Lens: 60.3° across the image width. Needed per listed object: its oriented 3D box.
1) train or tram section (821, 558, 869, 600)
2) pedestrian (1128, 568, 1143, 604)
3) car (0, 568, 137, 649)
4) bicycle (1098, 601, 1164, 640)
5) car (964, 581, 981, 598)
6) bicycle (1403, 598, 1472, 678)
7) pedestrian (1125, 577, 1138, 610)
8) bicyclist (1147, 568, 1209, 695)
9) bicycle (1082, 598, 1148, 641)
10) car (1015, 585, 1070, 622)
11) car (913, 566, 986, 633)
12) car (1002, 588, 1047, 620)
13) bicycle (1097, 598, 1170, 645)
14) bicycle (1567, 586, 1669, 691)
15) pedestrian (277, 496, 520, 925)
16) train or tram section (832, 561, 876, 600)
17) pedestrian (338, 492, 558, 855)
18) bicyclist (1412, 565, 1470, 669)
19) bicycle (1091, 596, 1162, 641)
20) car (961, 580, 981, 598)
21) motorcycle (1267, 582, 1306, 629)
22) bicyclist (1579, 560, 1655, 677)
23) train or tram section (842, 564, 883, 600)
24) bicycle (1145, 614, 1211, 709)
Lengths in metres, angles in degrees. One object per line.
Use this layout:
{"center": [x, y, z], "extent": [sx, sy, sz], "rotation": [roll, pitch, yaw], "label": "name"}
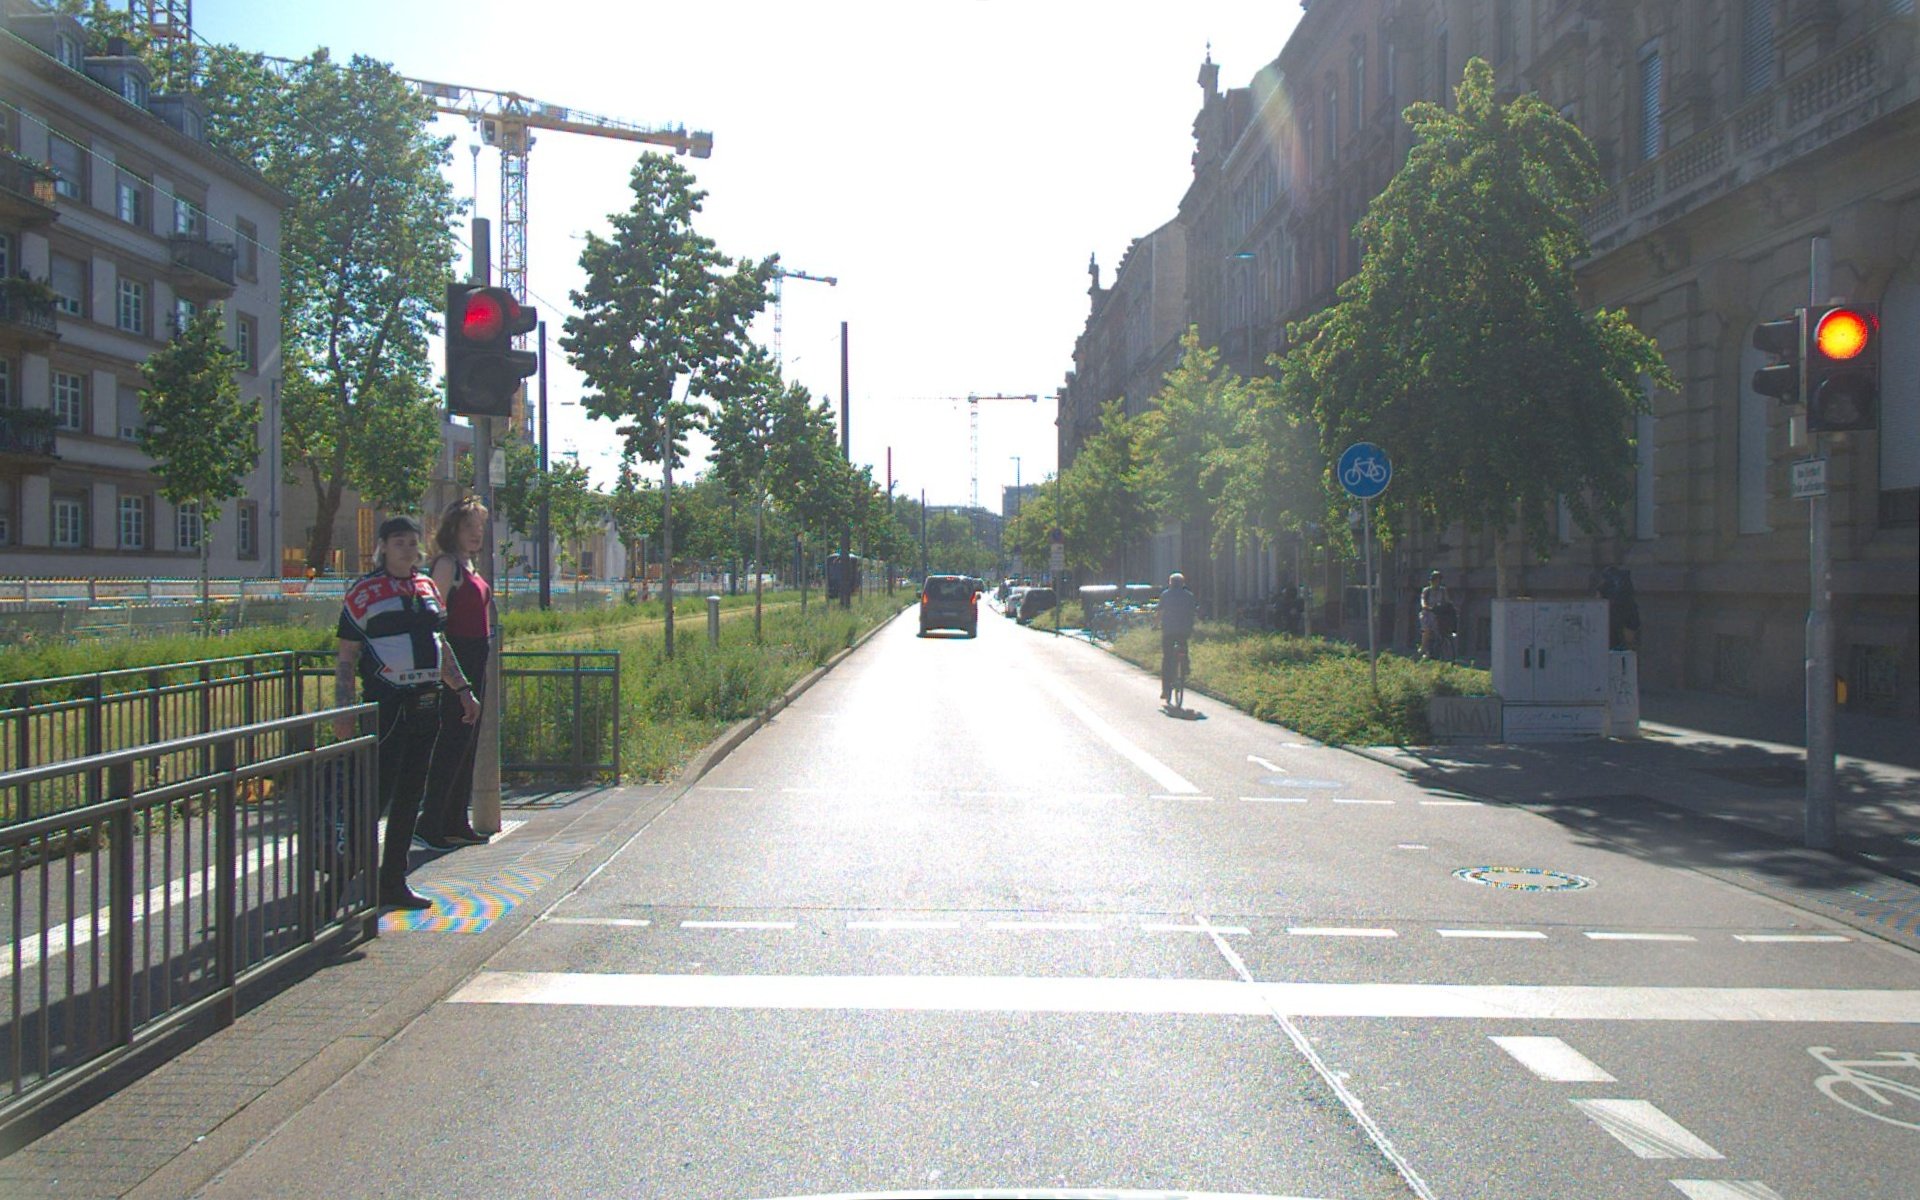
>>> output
{"center": [-8.160, -1.458, 118.229], "extent": [2.699, 2.790, 9.863], "rotation": [1, 0, 0], "label": "train or tram section"}
{"center": [8.203, -0.648, 77.158], "extent": [0.601, 1.640, 0.669], "rotation": [0, 0, -1], "label": "pedestrian"}
{"center": [-18.571, 0.138, 33.538], "extent": [1.779, 1.542, 4.000], "rotation": [0, 1, -1], "label": "car"}
{"center": [4.689, 0.567, 45.409], "extent": [1.756, 1.048, 0.527], "rotation": [0, 0, -1], "label": "bicycle"}
{"center": [1.535, -1.260, 199.950], "extent": [1.953, 1.870, 3.999], "rotation": [1, 0, -1], "label": "car"}
{"center": [7.865, 0.604, 27.337], "extent": [0.571, 1.244, 1.900], "rotation": [0, 1, -1], "label": "bicycle"}
{"center": [8.538, -0.320, 82.401], "extent": [0.601, 1.640, 0.669], "rotation": [0, 0, -1], "label": "pedestrian"}
{"center": [3.021, 0.426, 22.979], "extent": [0.670, 1.702, 0.922], "rotation": [2, 0, -2], "label": "bicyclist"}
{"center": [4.383, 0.548, 46.923], "extent": [1.756, 1.048, 0.527], "rotation": [-4, 1, -1], "label": "bicycle"}
{"center": [3.466, 0.121, 70.310], "extent": [1.987, 1.525, 4.653], "rotation": [0, 0, -1], "label": "car"}
{"center": [-0.342, -0.029, 51.333], "extent": [2.155, 1.960, 4.653], "rotation": [0, 0, -1], "label": "car"}
{"center": [3.205, 0.165, 82.615], "extent": [1.987, 1.525, 4.529], "rotation": [0, 0, -1], "label": "car"}
{"center": [4.447, 0.544, 42.465], "extent": [1.756, 1.048, 0.527], "rotation": [-4, 1, -1], "label": "bicycle"}
{"center": [9.204, 0.511, 23.201], "extent": [0.603, 1.353, 1.900], "rotation": [-4, 1, 1], "label": "bicycle"}
{"center": [-2.523, 0.468, 7.548], "extent": [0.848, 1.819, 0.969], "rotation": [1, 0, -7], "label": "pedestrian"}
{"center": [-8.111, -1.442, 128.076], "extent": [2.699, 2.790, 9.863], "rotation": [1, 0, 0], "label": "train or tram section"}
{"center": [-2.832, 0.385, 9.229], "extent": [1.055, 1.942, 0.652], "rotation": [0, 0, -8], "label": "pedestrian"}
{"center": [7.894, 0.270, 27.170], "extent": [0.653, 1.668, 0.960], "rotation": [0, 0, -1], "label": "bicyclist"}
{"center": [4.417, 0.488, 43.838], "extent": [1.756, 1.048, 0.527], "rotation": [-4, 1, -1], "label": "bicycle"}
{"center": [1.109, -1.109, 169.229], "extent": [1.953, 1.759, 3.999], "rotation": [1, 0, -1], "label": "car"}
{"center": [9.310, 0.146, 47.193], "extent": [0.686, 1.289, 1.981], "rotation": [0, 1, -1], "label": "motorcycle"}
{"center": [9.162, 0.244, 23.087], "extent": [0.647, 1.556, 0.801], "rotation": [-4, 1, 0], "label": "bicyclist"}
{"center": [-8.054, -1.426, 137.900], "extent": [2.699, 2.790, 9.863], "rotation": [1, 0, 0], "label": "train or tram section"}
{"center": [2.991, 0.818, 22.824], "extent": [0.589, 1.201, 1.869], "rotation": [2, 1, -2], "label": "bicycle"}
